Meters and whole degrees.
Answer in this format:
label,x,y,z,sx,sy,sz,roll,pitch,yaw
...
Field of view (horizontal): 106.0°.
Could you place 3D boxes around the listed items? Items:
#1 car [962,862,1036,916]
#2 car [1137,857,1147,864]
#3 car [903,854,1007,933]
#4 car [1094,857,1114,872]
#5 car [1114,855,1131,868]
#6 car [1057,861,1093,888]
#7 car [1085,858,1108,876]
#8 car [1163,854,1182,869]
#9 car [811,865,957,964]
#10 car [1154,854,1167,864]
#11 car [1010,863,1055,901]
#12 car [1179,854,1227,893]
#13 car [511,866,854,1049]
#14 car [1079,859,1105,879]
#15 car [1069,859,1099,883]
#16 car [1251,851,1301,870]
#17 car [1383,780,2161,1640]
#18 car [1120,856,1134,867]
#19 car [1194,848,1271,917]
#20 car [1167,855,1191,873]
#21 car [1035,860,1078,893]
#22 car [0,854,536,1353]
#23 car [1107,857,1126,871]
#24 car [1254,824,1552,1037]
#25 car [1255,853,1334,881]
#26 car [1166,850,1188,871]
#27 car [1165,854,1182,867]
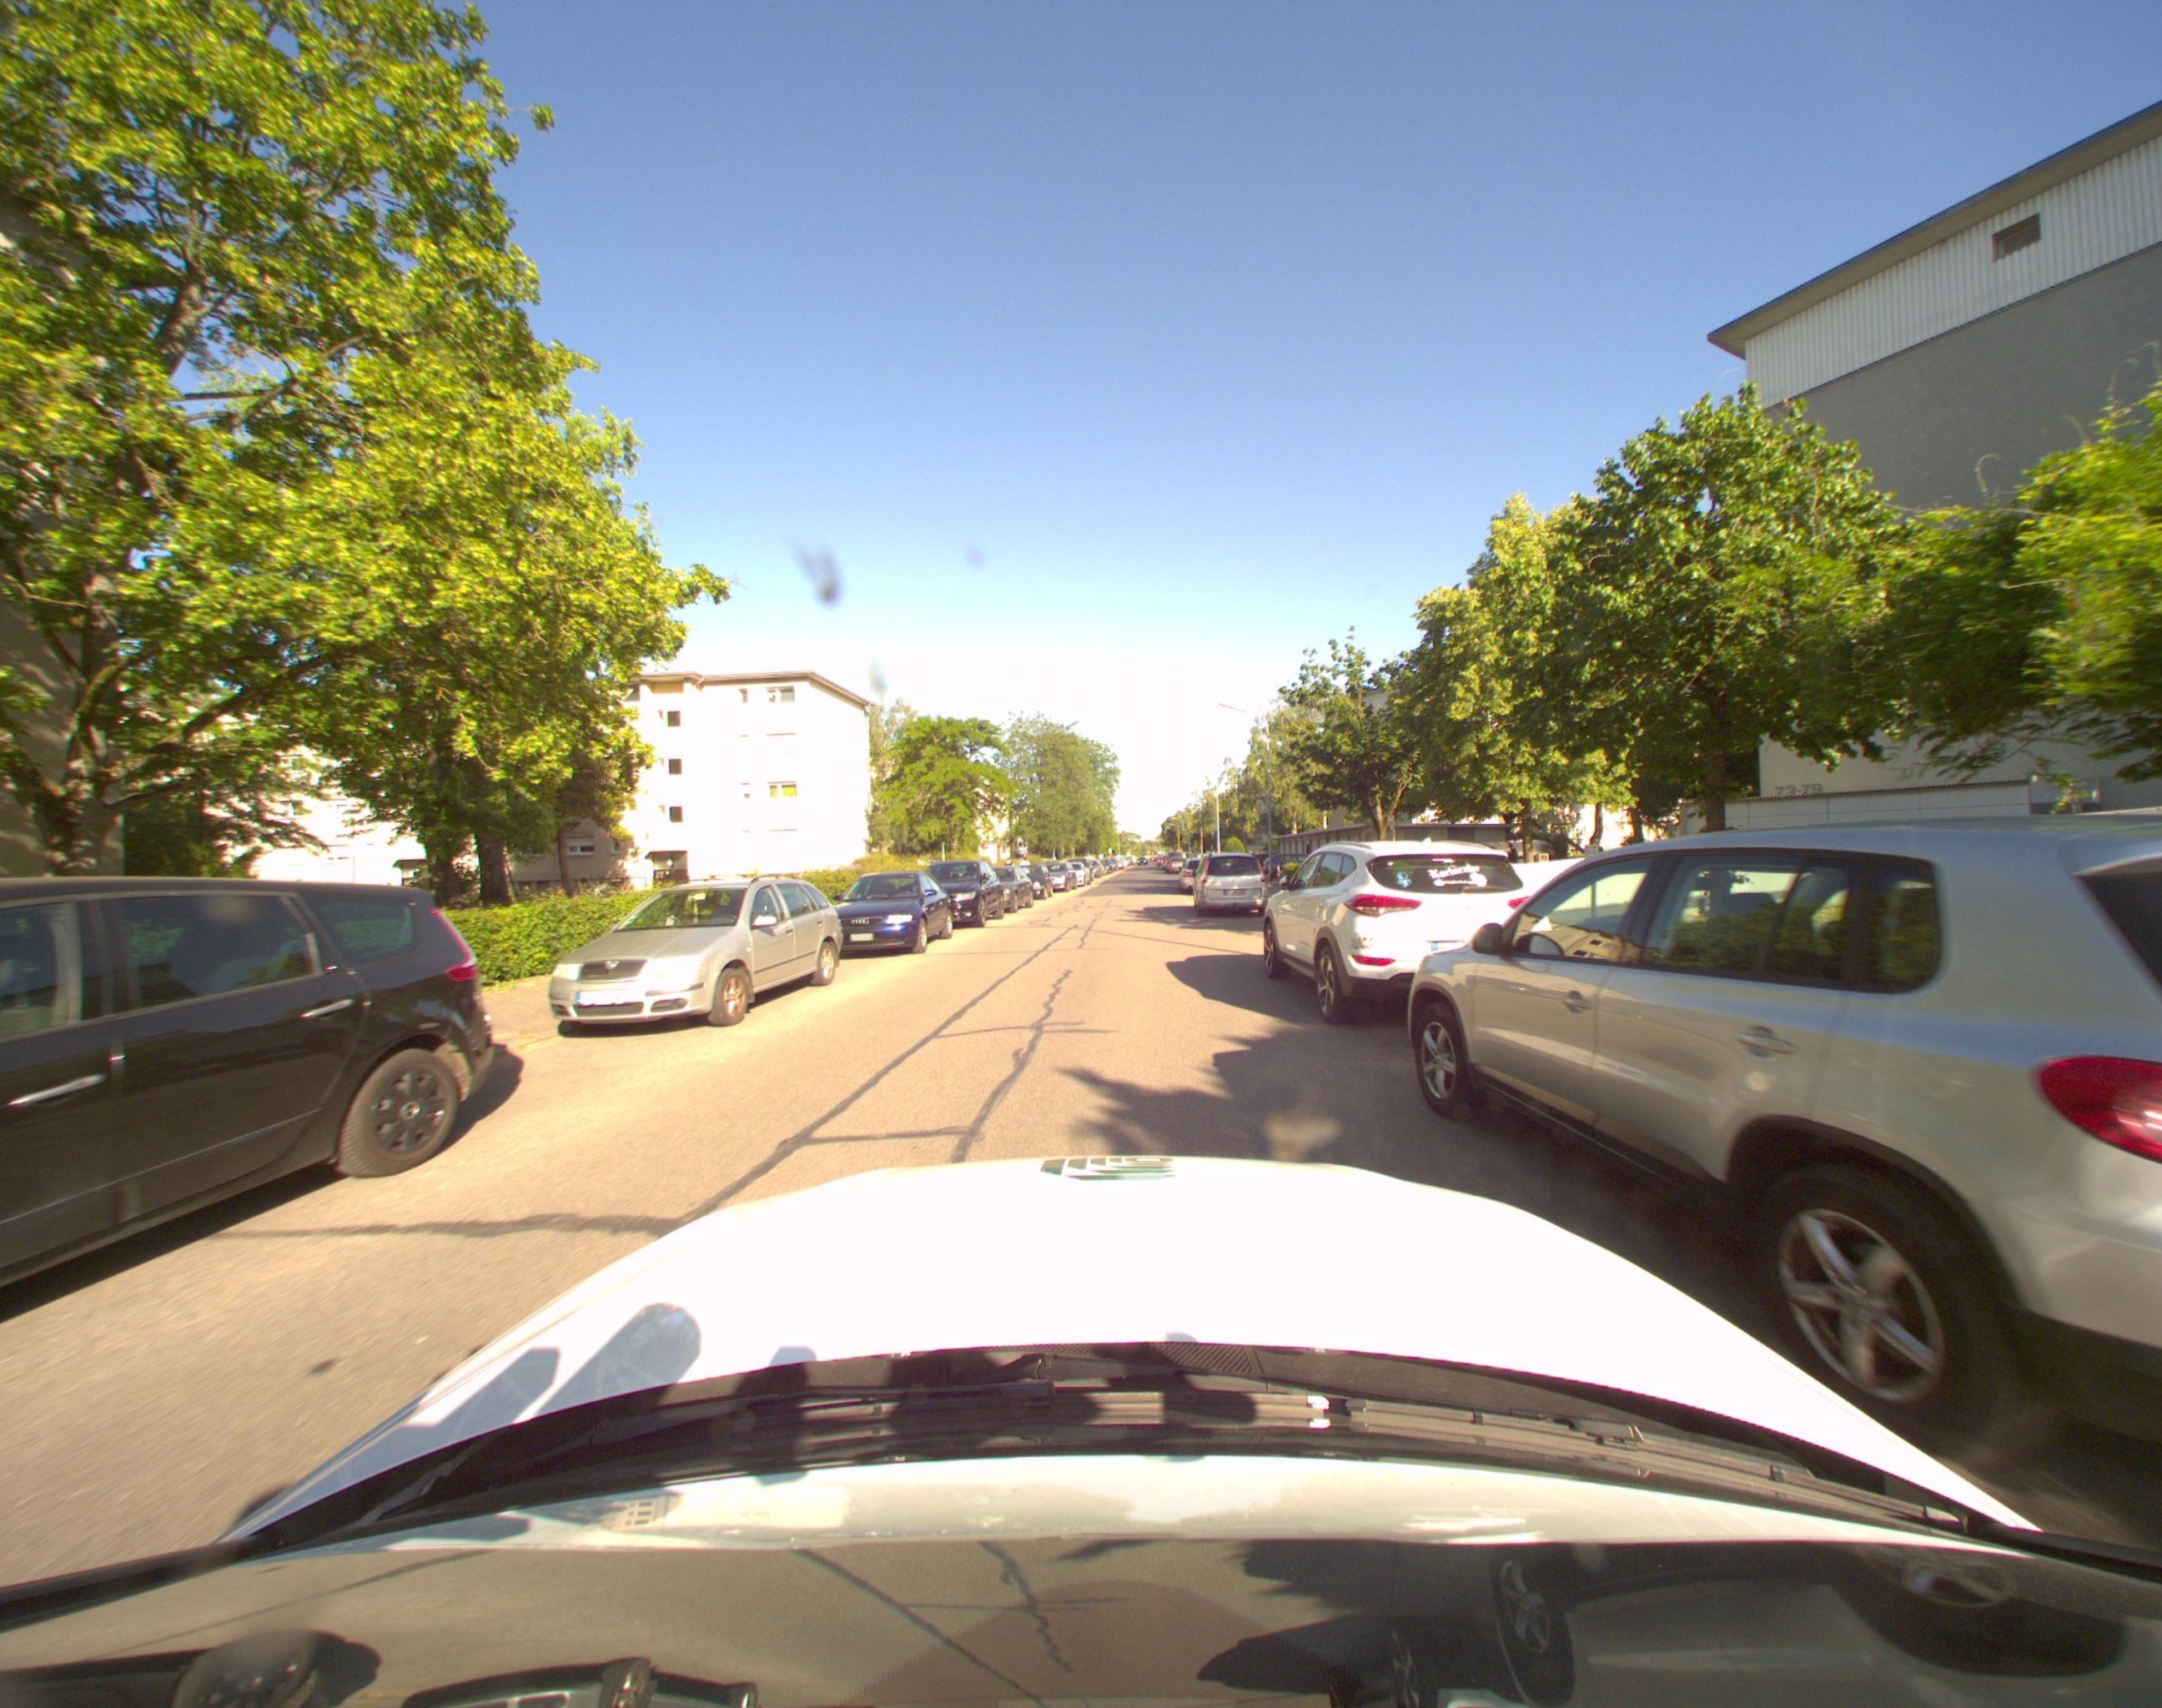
label,x,y,z,sx,sy,sz,roll,pitch,yaw
car,-2.513,1.047,25.780,1.653,1.439,3.763,-3,0,3
car,11.500,1.182,153.988,1.935,1.289,4.239,-1,1,4
car,-3.028,0.885,20.403,1.653,1.688,4.053,-3,0,3
car,2.197,0.980,77.464,1.501,1.329,3.474,-3,0,7
car,5.367,0.954,105.124,1.814,1.466,4.242,-1,1,7
car,-0.305,1.147,46.911,1.501,1.364,3.474,-3,0,7
car,1.348,1.065,68.801,1.501,1.329,3.474,-3,0,7
car,9.732,0.827,87.112,1.816,1.466,4.238,-1,-1,4
car,-3.448,0.991,15.007,1.655,1.426,4.048,-3,0,-1
car,11.861,0.728,120.701,1.815,1.325,4.242,-1,1,7
car,-1.973,1.117,33.710,1.383,1.413,3.128,-3,0,4
car,5.131,0.772,34.321,1.814,1.466,4.243,-3,0,8
car,-4.136,0.958,9.302,1.653,1.486,4.056,-3,0,3
car,0.873,1.163,62.940,1.501,1.381,3.474,-3,0,7
car,0.227,1.099,54.626,1.501,1.434,3.474,-3,0,7
car,17.445,0.577,72.962,4.199,1.530,1.832,-1,-3,5
car,2.907,0.671,3.432,1.724,1.619,4.233,-1,0,0
car,7.234,1.174,127.726,1.814,1.466,4.242,-1,1,7
car,3.982,0.710,21.906,1.814,1.657,4.243,-1,0,8
car,8.347,0.832,69.768,1.816,1.466,4.238,-1,-1,4
car,-1.181,1.101,40.651,1.501,1.451,3.698,-3,0,7
car,-4.468,0.878,3.060,1.664,1.666,4.408,-3,0,2
car,4.132,1.132,94.809,1.814,1.466,4.242,-1,1,7
car,3.043,0.628,8.692,1.646,1.698,4.236,-1,0,2
car,12.324,0.745,47.138,4.199,1.593,1.833,-1,0,5
car,8.901,0.604,75.441,1.816,1.802,4.239,-1,1,4
car,10.827,0.728,95.971,1.816,1.466,4.239,-1,1,4
